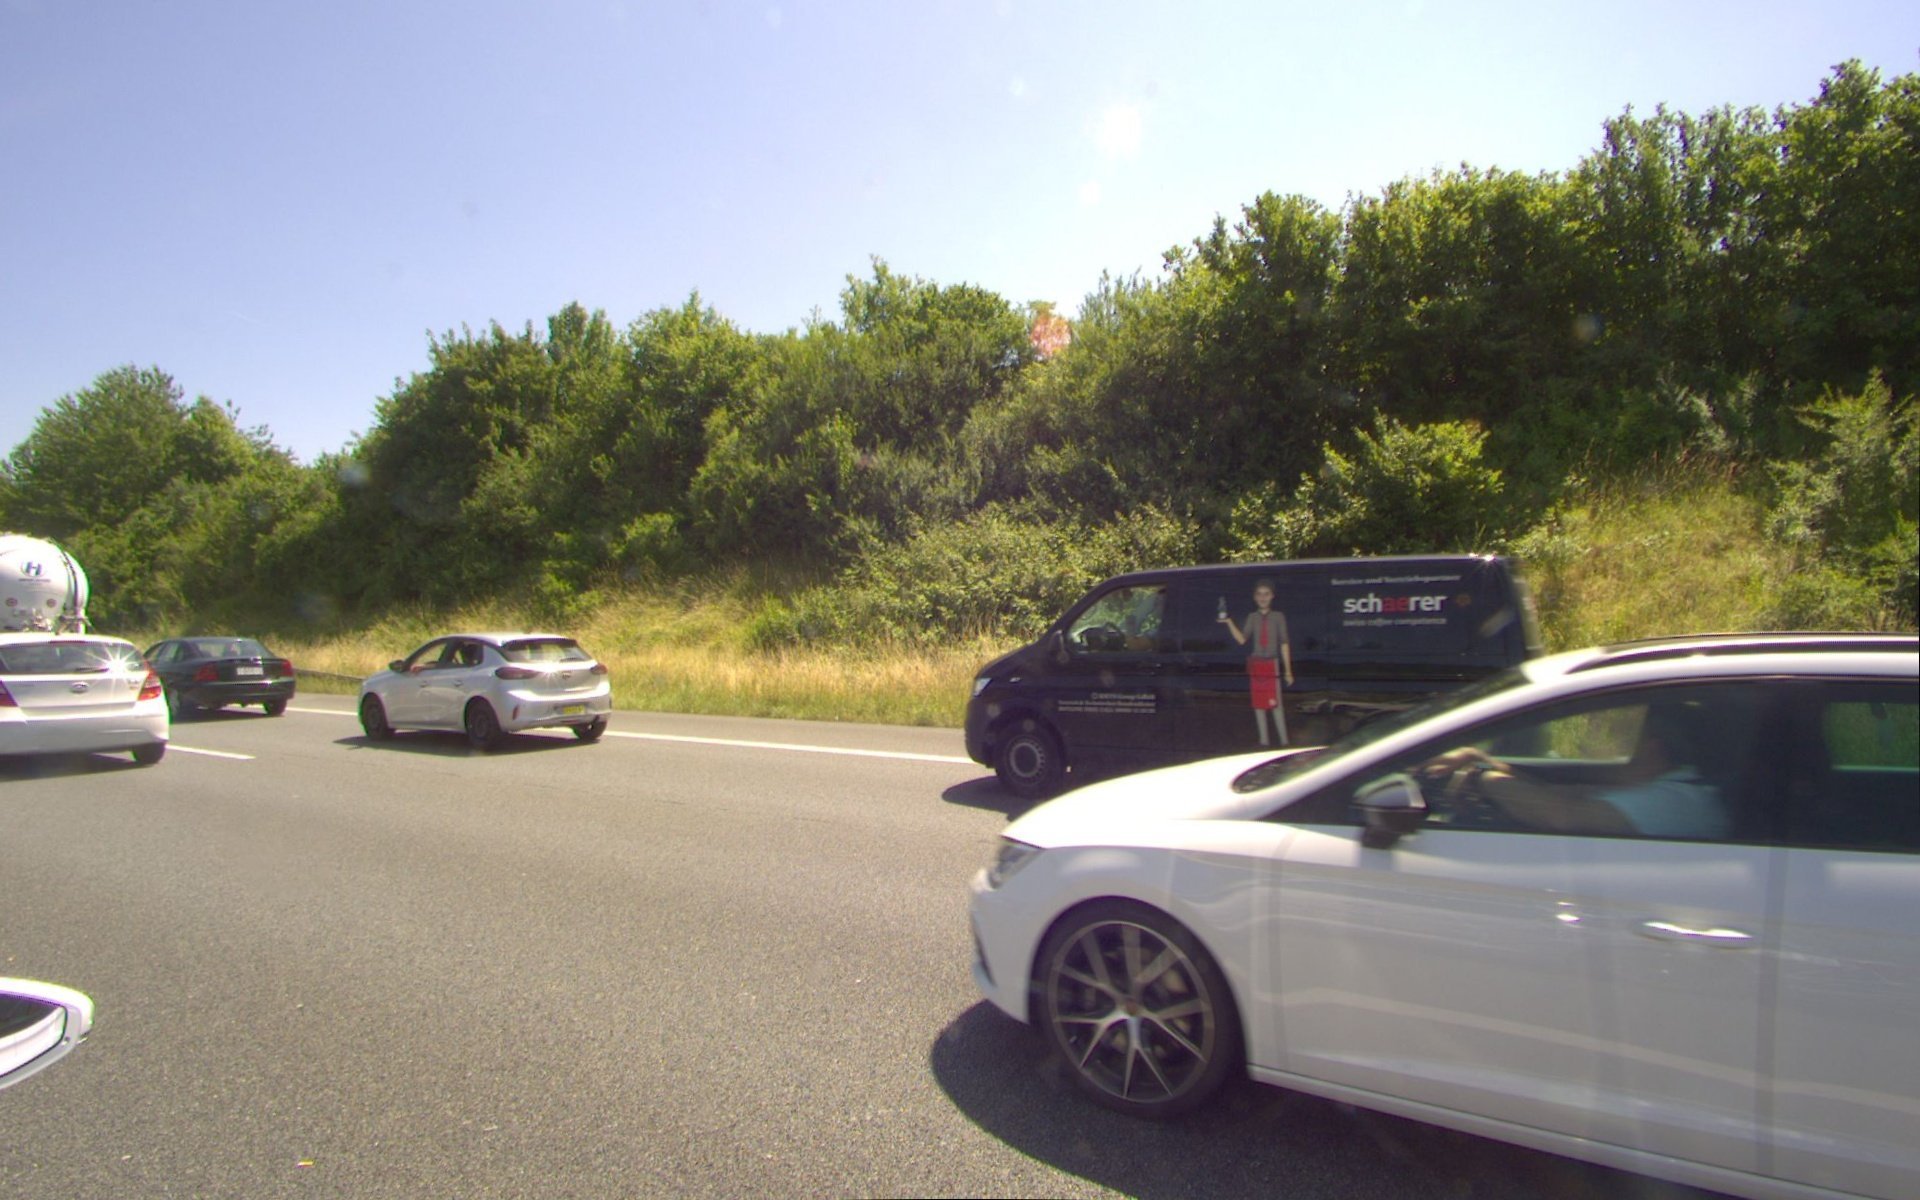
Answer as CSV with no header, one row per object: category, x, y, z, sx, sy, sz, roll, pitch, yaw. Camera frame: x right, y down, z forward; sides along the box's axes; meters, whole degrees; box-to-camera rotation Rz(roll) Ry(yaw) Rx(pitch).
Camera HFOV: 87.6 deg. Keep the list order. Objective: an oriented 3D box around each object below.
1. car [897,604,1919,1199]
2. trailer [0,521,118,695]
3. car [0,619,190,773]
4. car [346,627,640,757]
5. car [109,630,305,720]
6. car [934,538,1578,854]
car,2.040,0.760,2.950,4.254,1.462,1.743,-2,-1,34
trailer,-25.900,0.290,26.114,11.323,3.895,2.755,-1,-1,32
car,-10.765,1.023,11.572,3.946,1.504,1.812,-2,-1,34
car,-6.323,1.116,13.449,3.971,1.462,1.727,0,0,33
car,-13.811,1.327,18.313,3.934,1.435,1.637,-2,0,34
car,2.297,0.676,8.342,4.790,1.965,1.909,-2,-1,34
